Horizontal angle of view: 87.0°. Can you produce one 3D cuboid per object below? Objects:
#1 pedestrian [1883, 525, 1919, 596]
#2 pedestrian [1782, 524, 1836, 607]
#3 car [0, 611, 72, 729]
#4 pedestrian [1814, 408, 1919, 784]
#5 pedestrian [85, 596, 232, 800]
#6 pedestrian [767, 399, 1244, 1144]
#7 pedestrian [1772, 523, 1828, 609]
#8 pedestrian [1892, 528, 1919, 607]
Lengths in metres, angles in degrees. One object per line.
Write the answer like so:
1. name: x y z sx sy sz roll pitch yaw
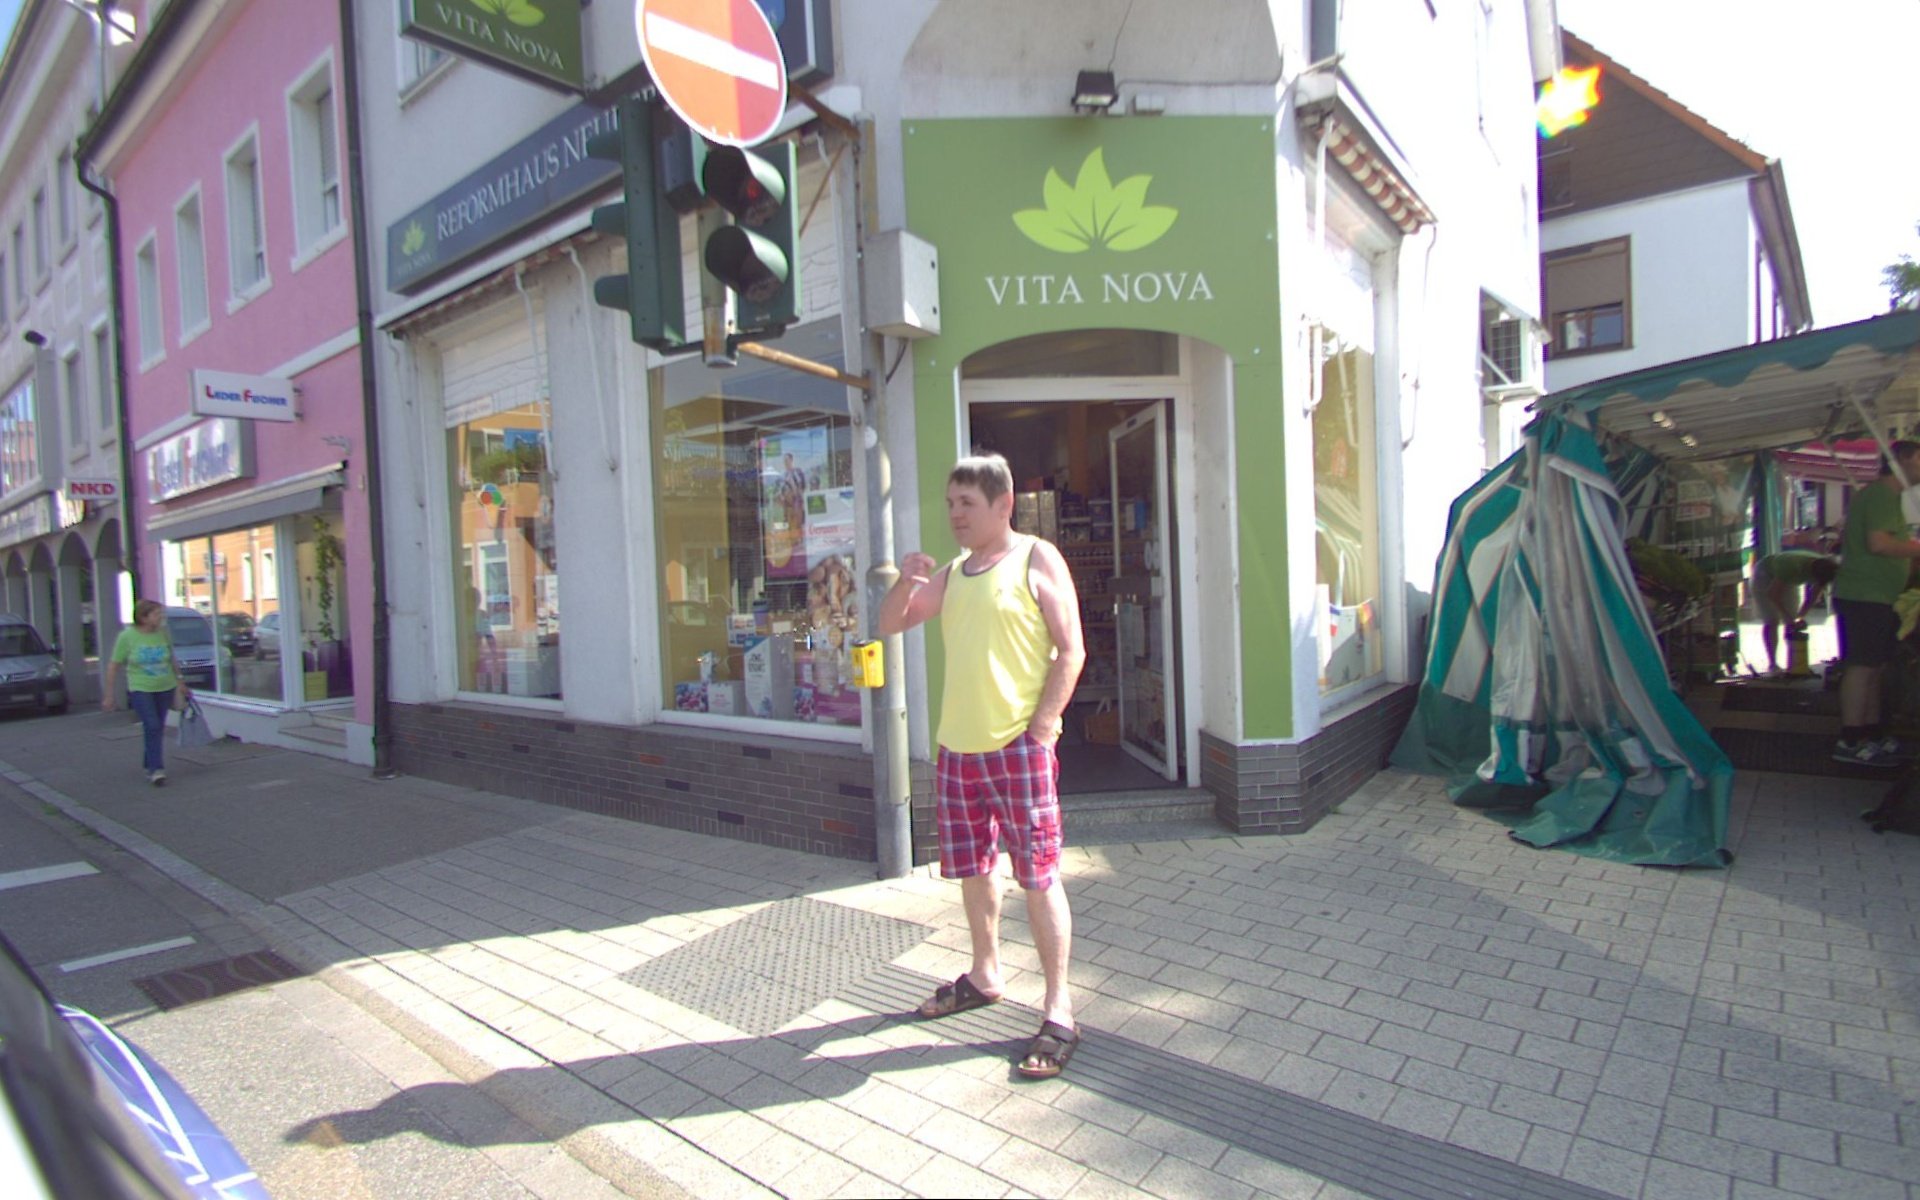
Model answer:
1. pedestrian: 16.492 -0.700 17.643 0.572 1.210 0.642 1 3 42
2. pedestrian: 14.189 -0.583 16.916 0.627 1.340 0.689 1 4 44
3. car: -16.406 1.175 16.845 4.141 1.752 1.690 -3 2 39
4. pedestrian: 5.306 -0.029 5.660 0.695 1.985 0.510 -2 0 -23
5. pedestrian: -7.089 0.822 8.957 0.859 1.644 0.777 -2 3 42
6. pedestrian: 0.107 0.389 3.106 1.004 1.827 0.910 -7 5 -24
7. pedestrian: 13.527 -0.549 16.290 0.627 1.340 0.689 1 4 44
8. pedestrian: 14.768 -0.509 15.599 0.572 1.210 0.642 1 3 42
